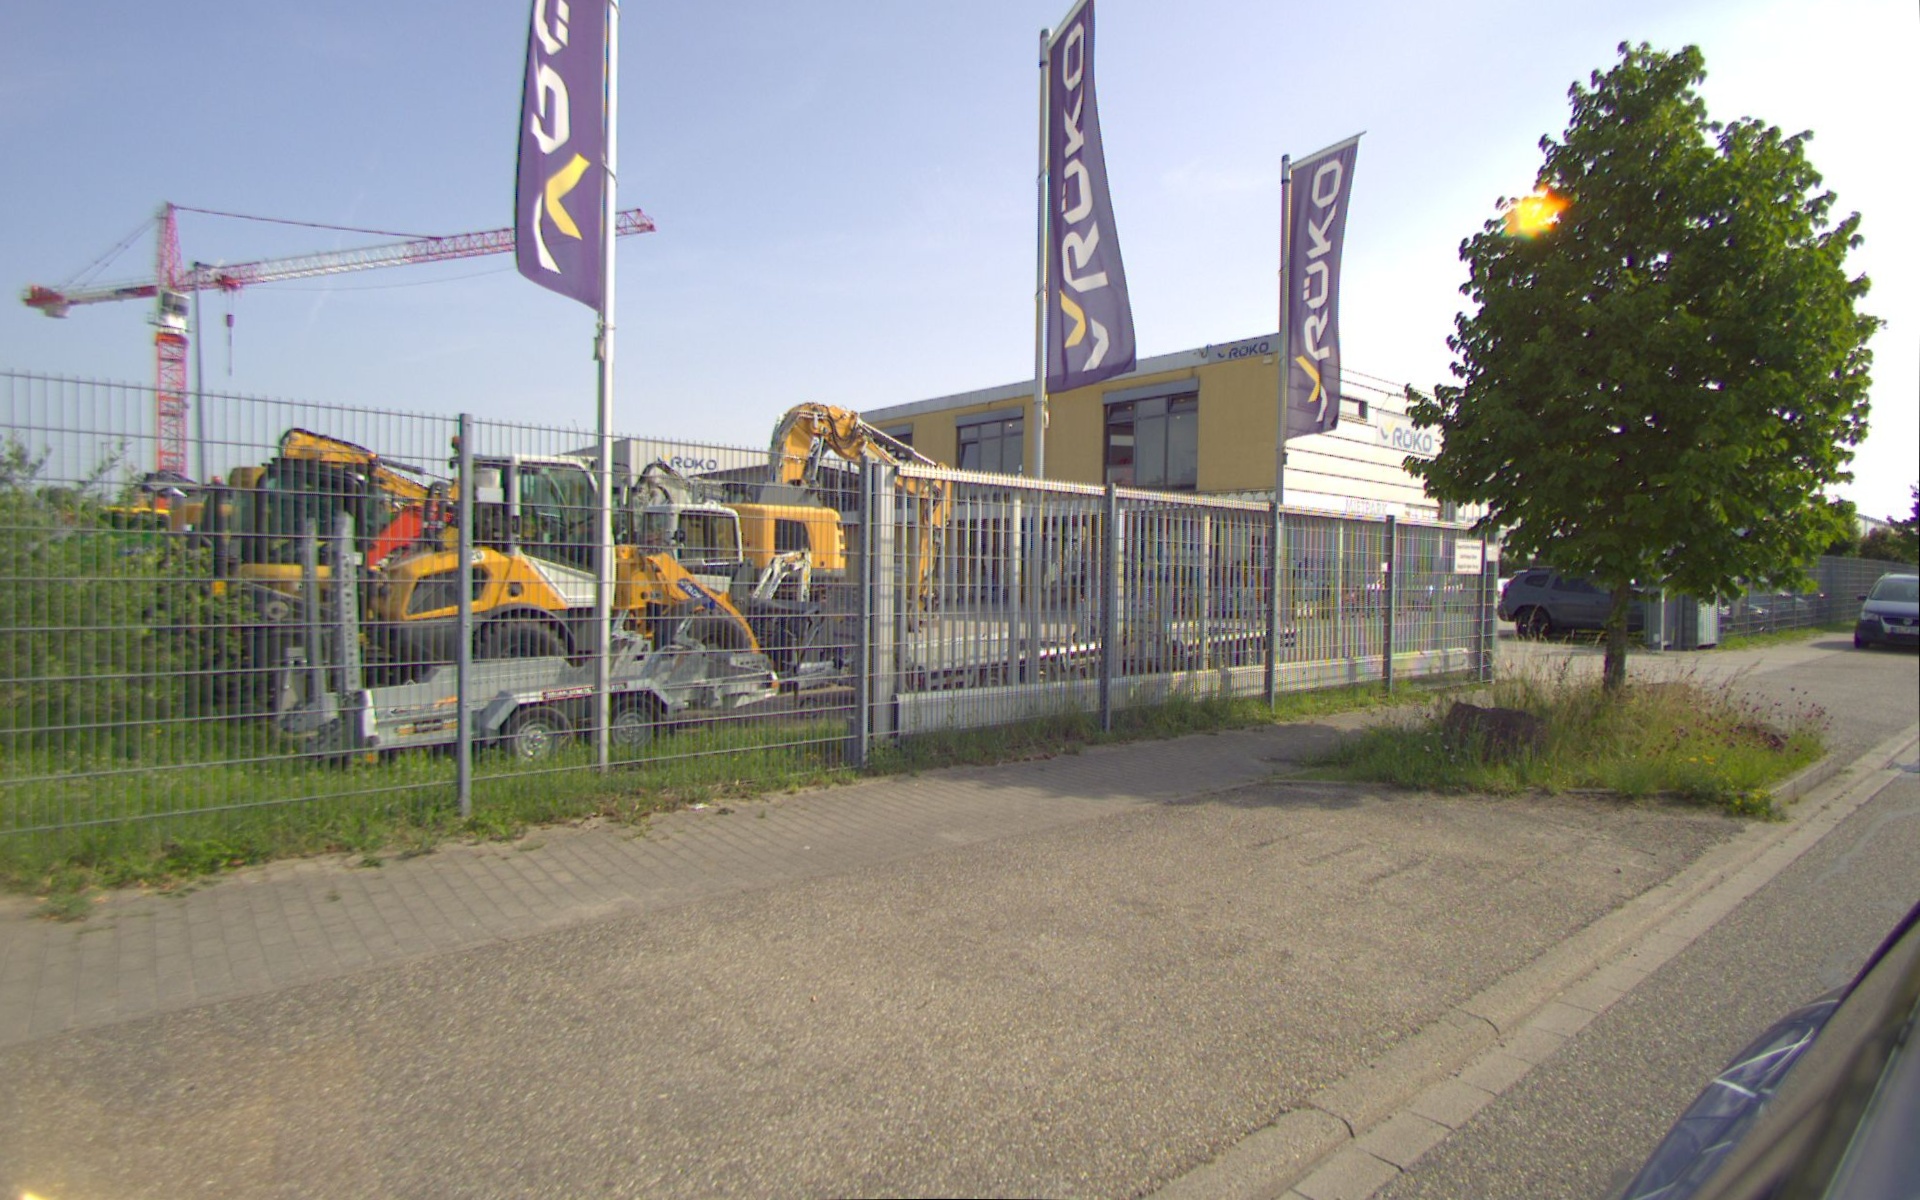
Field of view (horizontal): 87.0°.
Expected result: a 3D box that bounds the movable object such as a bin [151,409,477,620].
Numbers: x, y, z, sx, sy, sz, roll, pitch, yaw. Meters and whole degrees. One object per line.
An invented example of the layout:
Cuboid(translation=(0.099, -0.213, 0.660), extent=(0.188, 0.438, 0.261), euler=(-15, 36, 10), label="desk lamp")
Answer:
Cuboid(translation=(-13.740, -1.668, 21.719), extent=(5.617, 3.921, 2.690), euler=(-1, 2, -40), label="movable object such as a bin")

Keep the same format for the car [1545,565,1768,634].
Cuboid(translation=(17.090, -0.059, 24.959), extent=(1.868, 1.514, 4.229), euler=(0, 2, -43), label="car")

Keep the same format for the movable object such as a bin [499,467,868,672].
Cuboid(translation=(-3.846, -0.426, 14.458), extent=(4.675, 2.489, 1.999), euler=(0, 2, -37), label="movable object such as a bin")

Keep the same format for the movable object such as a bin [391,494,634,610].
Cuboid(translation=(-11.849, -1.207, 27.082), extent=(5.592, 2.803, 2.057), euler=(0, 2, -42), label="movable object such as a bin")

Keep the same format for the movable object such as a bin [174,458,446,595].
Cuboid(translation=(-20.827, -2.254, 32.764), extent=(7.084, 3.977, 2.468), euler=(-1, 3, -44), label="movable object such as a bin")

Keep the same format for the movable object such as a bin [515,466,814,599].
Cuboid(translation=(-6.859, -1.465, 24.011), extent=(6.240, 2.749, 2.705), euler=(0, 2, -42), label="movable object such as a bin")

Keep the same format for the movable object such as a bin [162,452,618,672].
Cuboid(translation=(-7.990, -0.513, 14.402), extent=(5.244, 2.522, 2.929), euler=(-1, 2, -40), label="movable object such as a bin")

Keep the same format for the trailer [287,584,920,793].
Cuboid(translation=(-2.839, 0.518, 8.726), extent=(4.713, 1.259, 2.130), euler=(-1, 2, -42), label="trailer")

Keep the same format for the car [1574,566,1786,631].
Cuboid(translation=(18.741, -0.090, 26.481), extent=(1.868, 1.514, 4.229), euler=(0, 2, -43), label="car")

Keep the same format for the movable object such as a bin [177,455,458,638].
Cuboid(translation=(-12.077, -0.953, 19.159), extent=(4.295, 3.069, 1.997), euler=(-1, 2, -40), label="movable object such as a bin")

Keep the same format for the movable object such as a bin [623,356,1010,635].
Cuboid(translation=(-2.805, -1.900, 21.500), extent=(7.541, 4.866, 3.322), euler=(0, 2, -42), label="movable object such as a bin")

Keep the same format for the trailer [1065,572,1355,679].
Cuboid(translation=(3.869, 0.270, 15.288), extent=(4.483, 1.327, 1.998), euler=(-2, 3, -39), label="trailer")

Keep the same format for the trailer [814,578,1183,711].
Cuboid(translation=(0.576, 0.400, 12.030), extent=(4.220, 1.259, 1.947), euler=(-1, 2, -42), label="trailer")

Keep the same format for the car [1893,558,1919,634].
Cuboid(translation=(25.202, -0.137, 25.412), extent=(4.518, 1.811, 1.998), euler=(-2, 2, -39), label="car")

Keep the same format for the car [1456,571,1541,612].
Cuboid(translation=(21.903, -0.363, 41.089), extent=(1.890, 1.576, 4.301), euler=(2, 2, 44), label="car")

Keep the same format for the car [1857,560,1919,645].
Cuboid(translation=(21.310, -0.001, 22.272), extent=(4.176, 1.741, 1.829), euler=(-2, 3, -41), label="car")

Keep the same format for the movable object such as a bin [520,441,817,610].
Cuboid(translation=(-7.669, -1.823, 27.210), extent=(7.084, 3.977, 2.923), euler=(0, 2, -42), label="movable object such as a bin")

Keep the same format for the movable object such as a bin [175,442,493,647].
Cuboid(translation=(-10.619, -0.891, 17.335), extent=(4.412, 3.069, 1.997), euler=(-1, 2, -40), label="movable object such as a bin")

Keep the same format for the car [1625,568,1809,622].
Cuboid(translation=(21.657, -0.184, 29.055), extent=(1.761, 1.388, 3.990), euler=(-1, 2, -44), label="car")

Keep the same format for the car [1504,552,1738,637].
Cuboid(translation=(14.979, -0.189, 23.073), extent=(4.224, 1.759, 1.870), euler=(2, 2, 43), label="car")

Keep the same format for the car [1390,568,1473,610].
Cuboid(translation=(20.383, -0.480, 43.657), extent=(1.890, 1.712, 4.301), euler=(2, 2, 44), label="car")

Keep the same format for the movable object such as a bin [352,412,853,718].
Cuboid(translation=(-3.870, -0.375, 11.569), extent=(5.068, 2.786, 1.891), euler=(-1, 2, -40), label="movable object such as a bin")
